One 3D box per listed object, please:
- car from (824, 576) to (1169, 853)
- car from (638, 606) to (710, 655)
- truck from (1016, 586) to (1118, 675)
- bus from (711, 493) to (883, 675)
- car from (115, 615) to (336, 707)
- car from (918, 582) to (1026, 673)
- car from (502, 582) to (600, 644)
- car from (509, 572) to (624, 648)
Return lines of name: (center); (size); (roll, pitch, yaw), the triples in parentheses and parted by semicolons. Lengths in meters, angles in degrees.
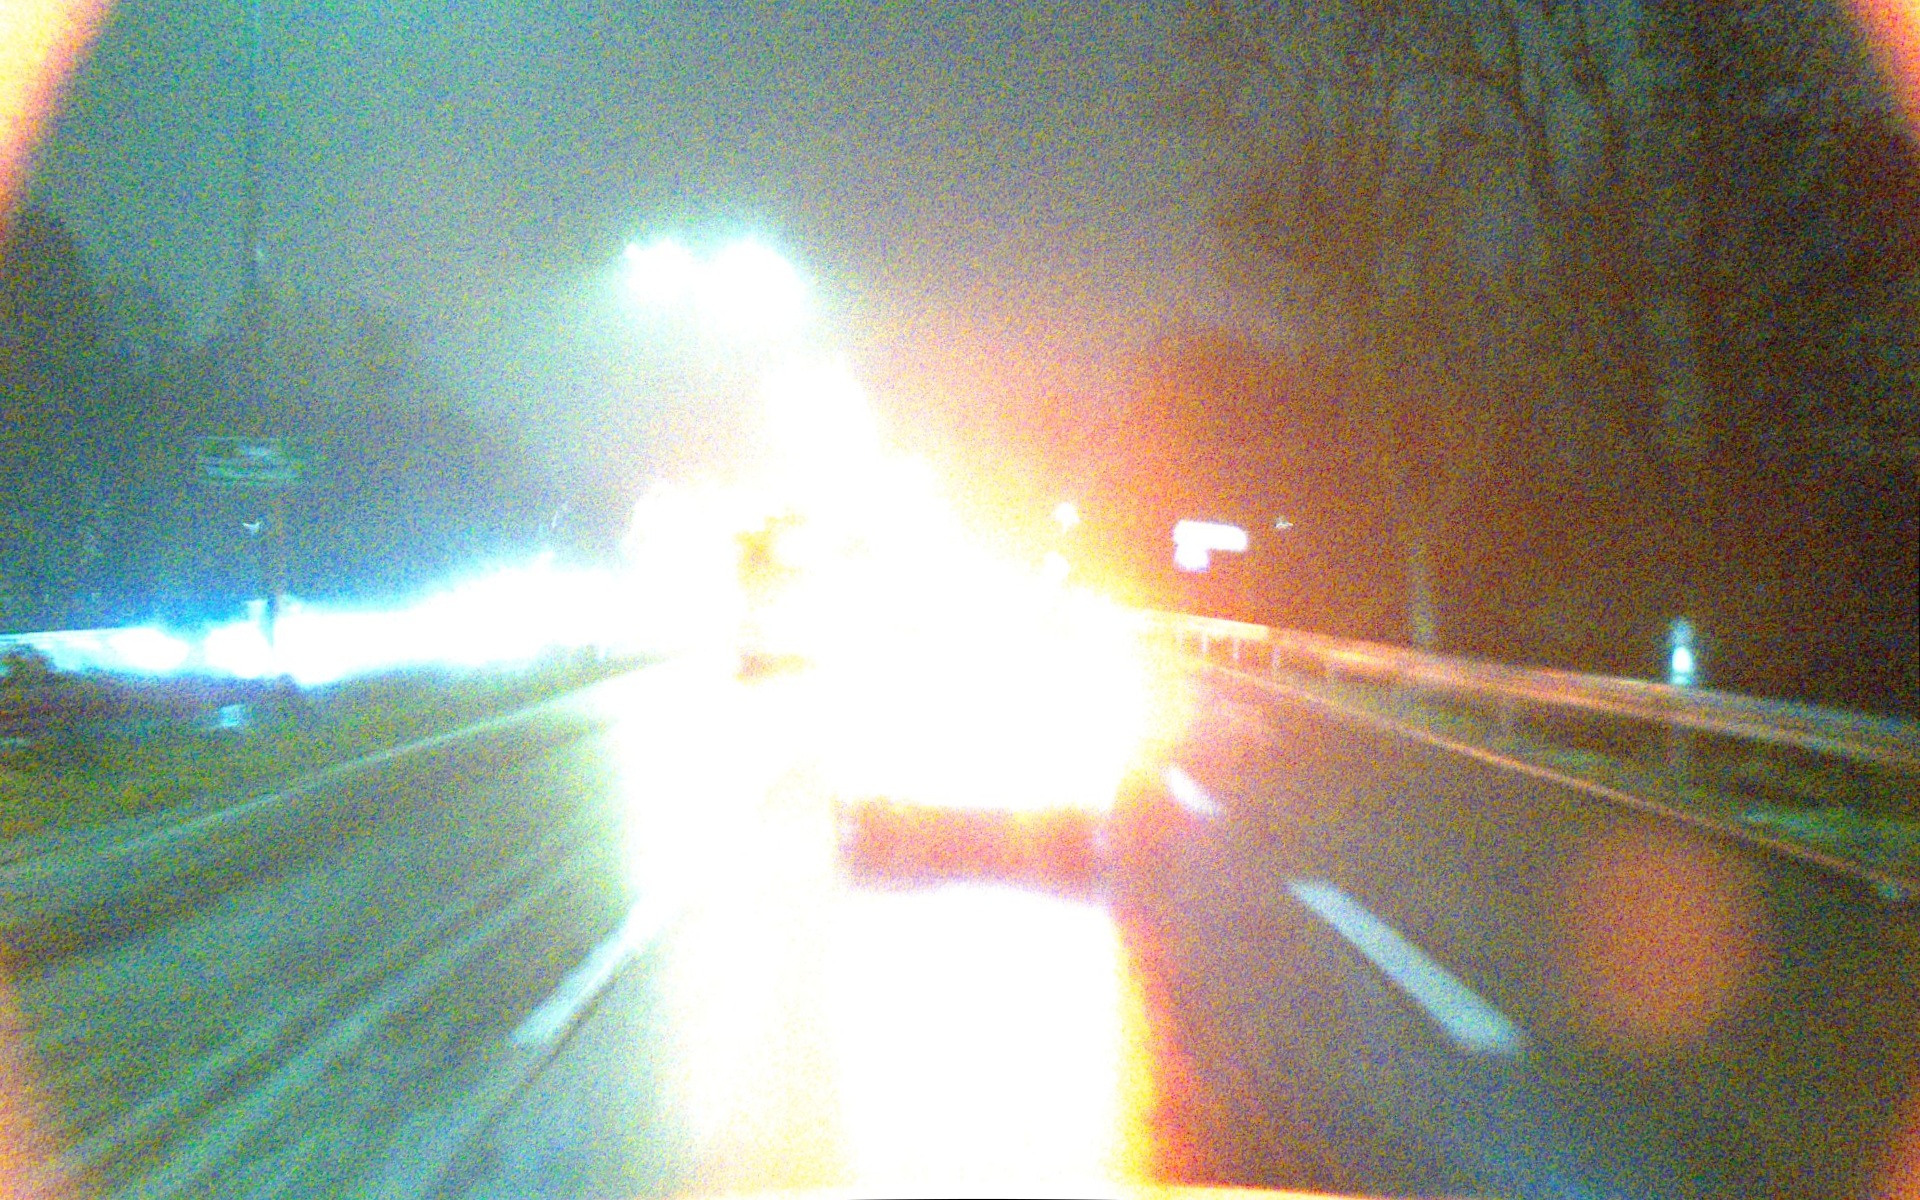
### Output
car: (0.205, 0.642, 11.079); (1.904, 1.517, 3.716); (1, 0, 0)
car: (-11.344, 1.217, 65.813); (2.121, 1.805, 4.703); (2, -1, -2)
truck: (3.517, 0.994, 53.888); (3.005, 2.573, 7.169); (2, -1, 4)
bus: (-3.152, -0.330, 34.346); (2.688, 3.178, 9.200); (2, 1, -1)
car: (-13.665, 1.093, 31.153); (1.982, 1.528, 4.895); (2, -1, -1)
car: (0.200, 0.465, 29.358); (1.784, 1.487, 3.715); (1, 0, 0)
car: (-12.773, 0.425, 51.930); (1.953, 1.805, 4.703); (2, -1, -2)
car: (-10.215, 0.294, 43.274); (1.953, 1.805, 4.703); (2, -1, -2)
